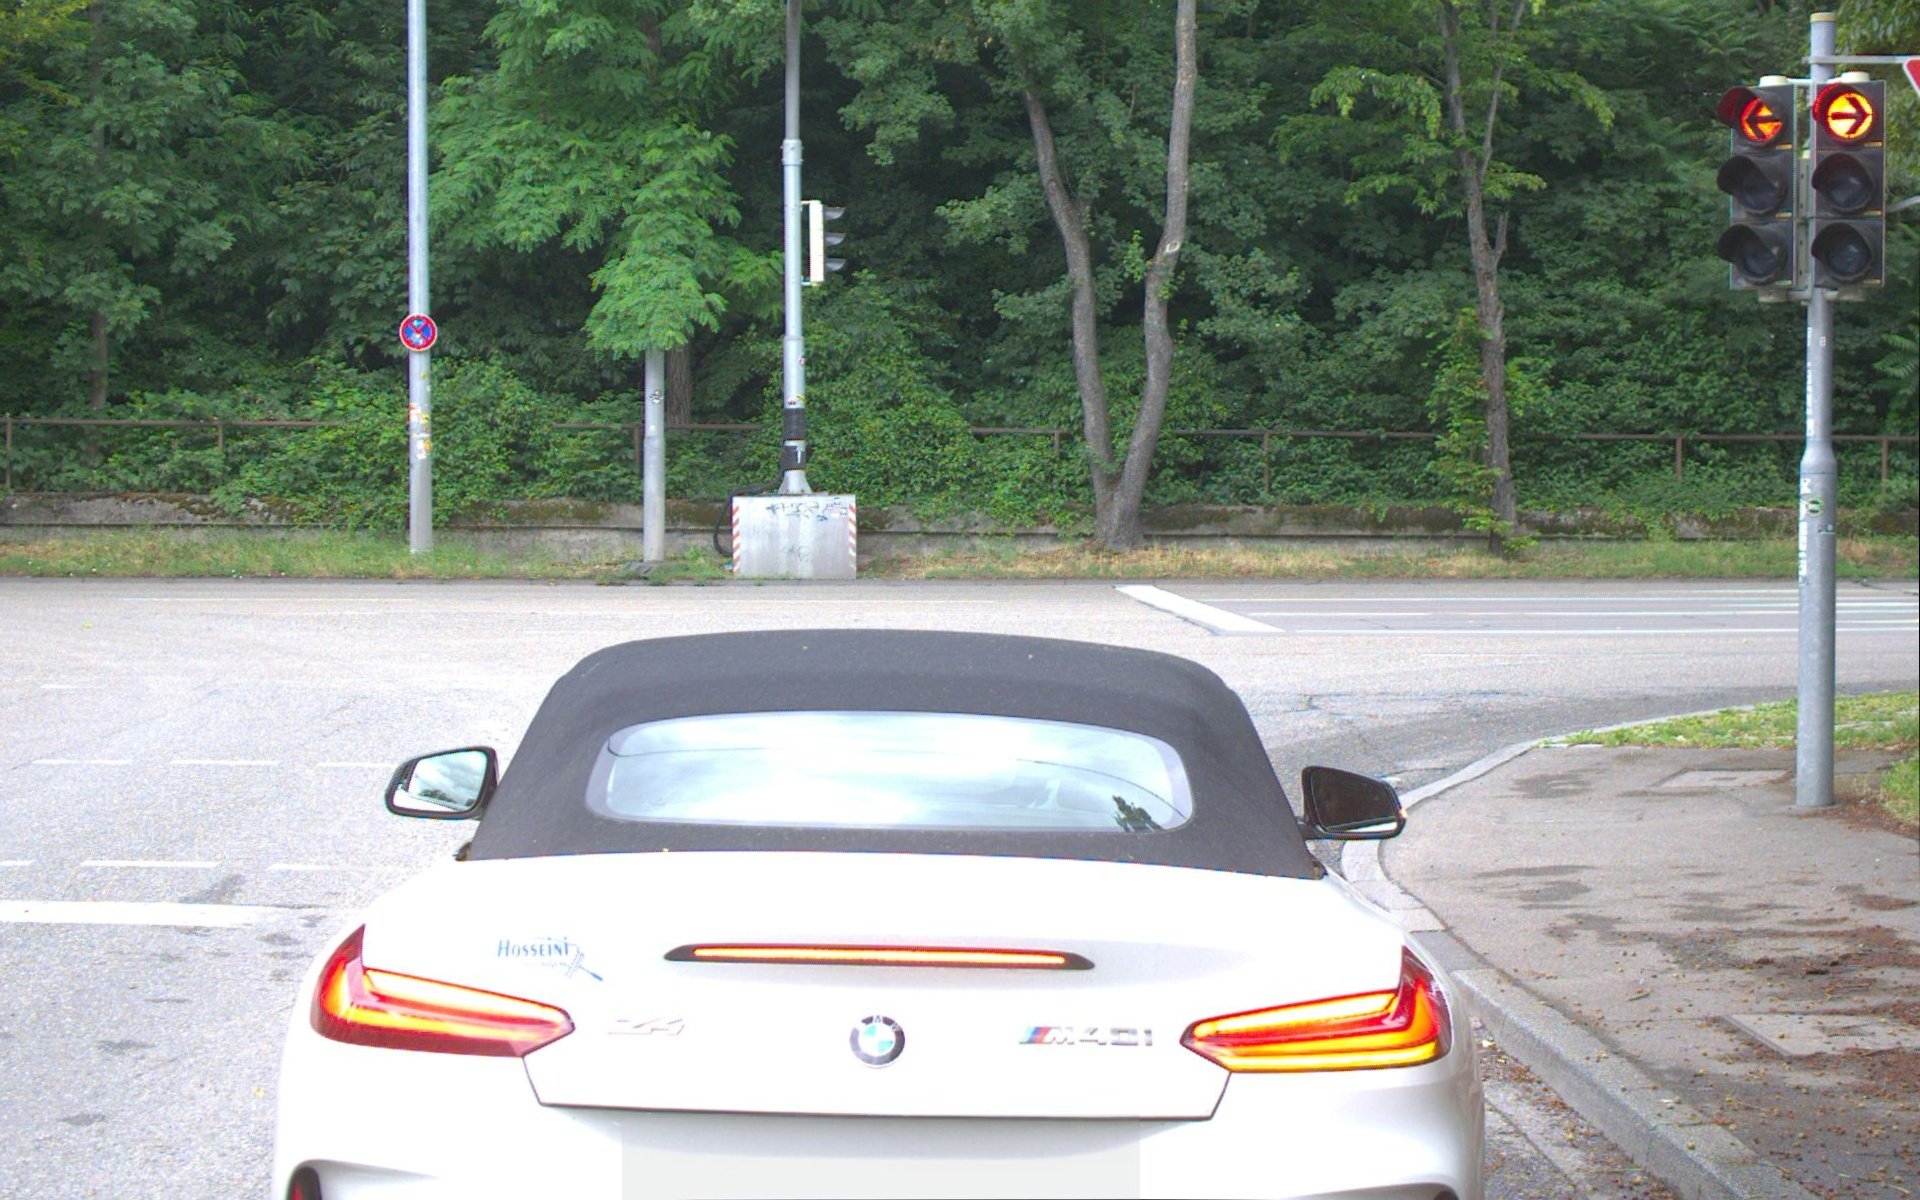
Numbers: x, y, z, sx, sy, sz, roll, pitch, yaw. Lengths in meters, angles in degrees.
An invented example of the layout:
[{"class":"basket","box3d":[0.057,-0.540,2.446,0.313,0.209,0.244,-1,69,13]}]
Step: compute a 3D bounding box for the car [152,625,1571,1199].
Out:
[{"class":"car","box3d":[-0.220,0.701,6.470,1.827,1.253,4.000,2,0,-3]}]
